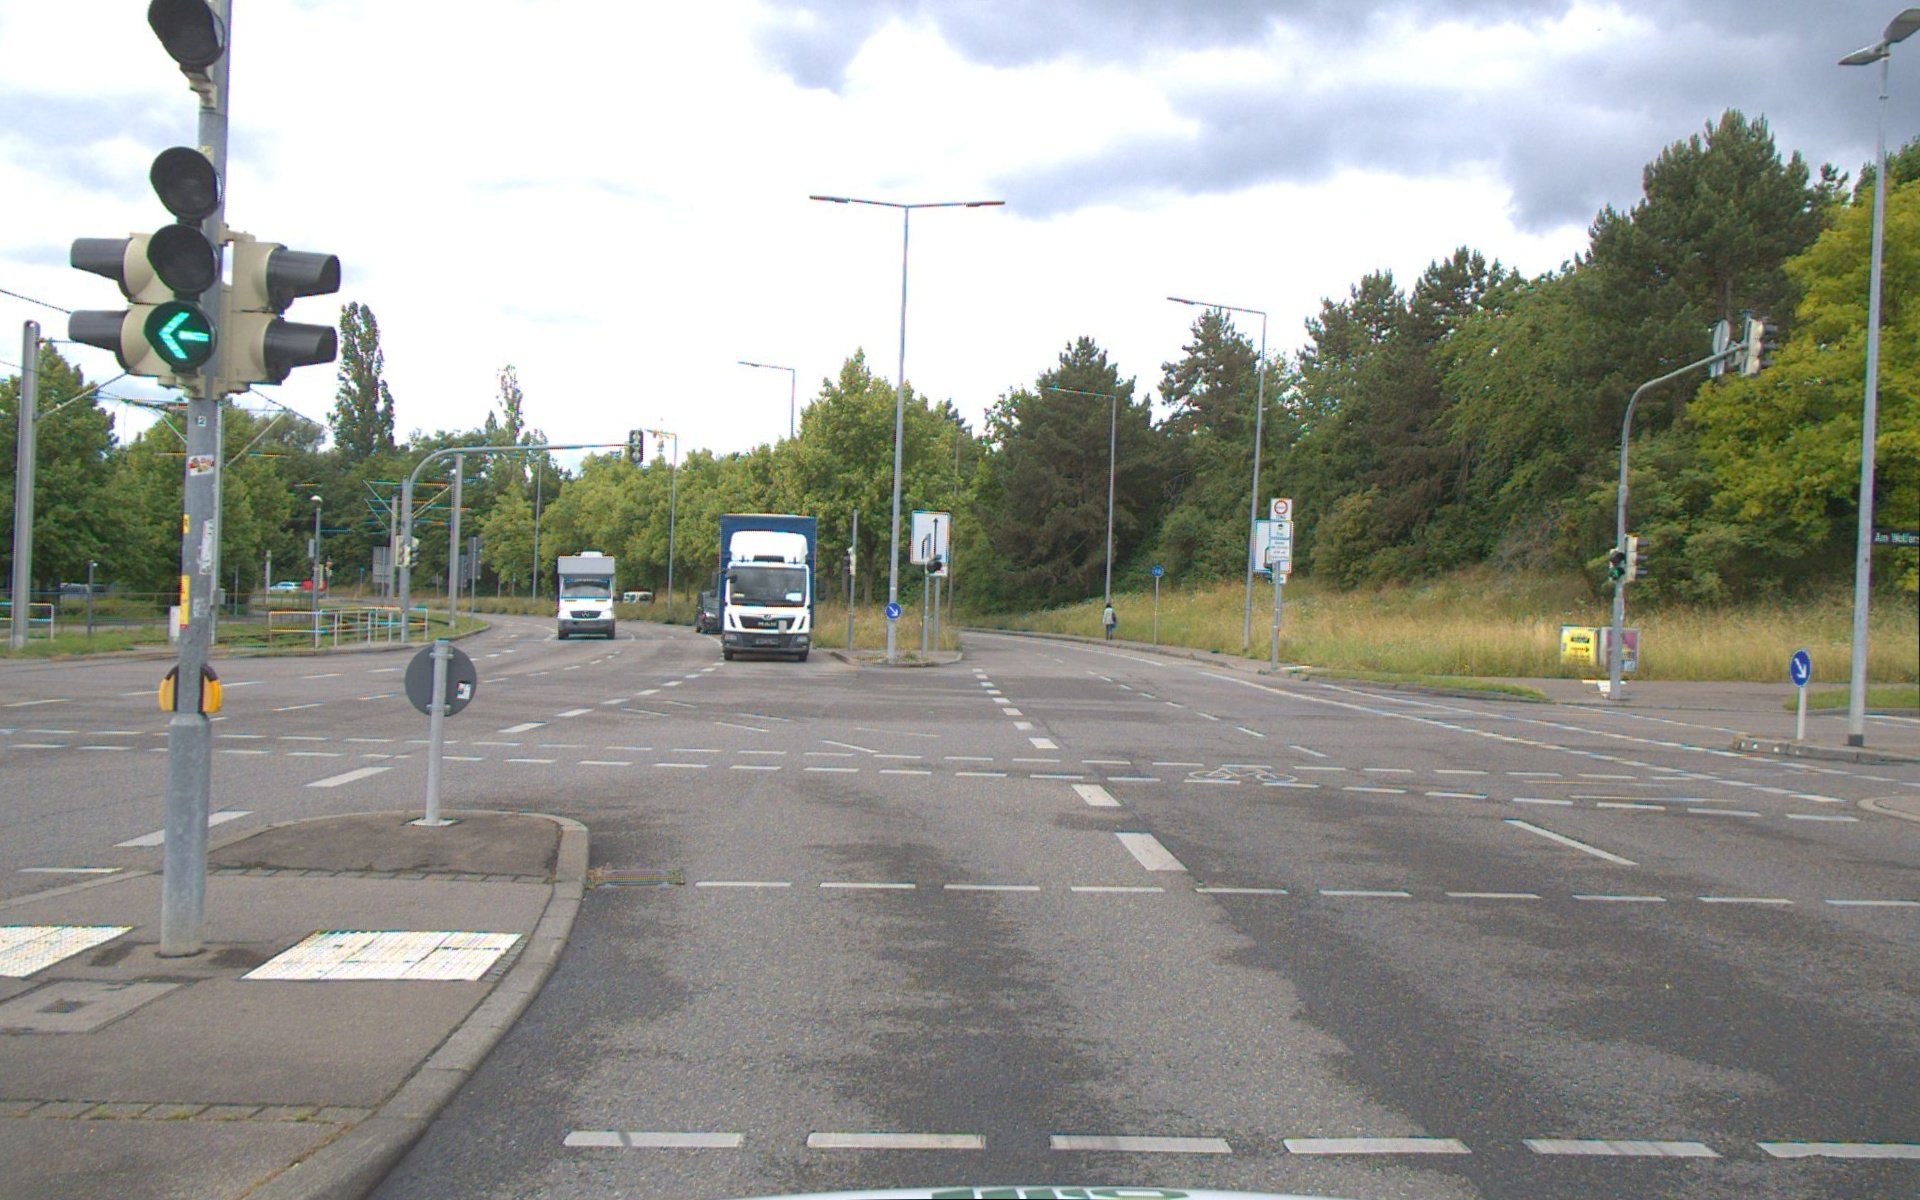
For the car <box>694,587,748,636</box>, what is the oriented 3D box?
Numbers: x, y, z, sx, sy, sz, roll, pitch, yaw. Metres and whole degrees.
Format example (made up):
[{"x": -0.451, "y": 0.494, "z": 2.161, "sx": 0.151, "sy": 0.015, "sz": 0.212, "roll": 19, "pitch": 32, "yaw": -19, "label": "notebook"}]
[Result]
[{"x": -10.647, "y": 0.478, "z": 73.454, "sx": 1.960, "sy": 2.049, "sz": 4.592, "roll": 1, "pitch": 0, "yaw": -14, "label": "car"}]

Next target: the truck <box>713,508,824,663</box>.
[{"x": -5.312, "y": -0.385, "z": 45.935, "sx": 2.725, "sy": 3.871, "sz": 8.376, "roll": 1, "pitch": 0, "yaw": -7, "label": "truck"}]

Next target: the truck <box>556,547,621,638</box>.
[{"x": -13.567, "y": -0.274, "z": 60.576, "sx": 2.068, "sy": 3.063, "sz": 6.254, "roll": -2, "pitch": 0, "yaw": -12, "label": "truck"}]

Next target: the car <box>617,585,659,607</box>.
[{"x": -26.491, "y": -0.355, "z": 135.846, "sx": 1.979, "sy": 1.758, "sz": 3.678, "roll": 1, "pitch": 0, "yaw": -37, "label": "car"}]

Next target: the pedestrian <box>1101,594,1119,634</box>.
[{"x": 6.719, "y": 0.614, "z": 74.033, "sx": 0.724, "sy": 1.747, "sz": 0.625, "roll": 1, "pitch": 0, "yaw": -1, "label": "pedestrian"}]

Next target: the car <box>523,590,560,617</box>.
[{"x": -29.543, "y": 0.256, "z": 116.684, "sx": 1.967, "sy": 1.814, "sz": 3.971, "roll": 1, "pitch": 0, "yaw": -23, "label": "car"}]
